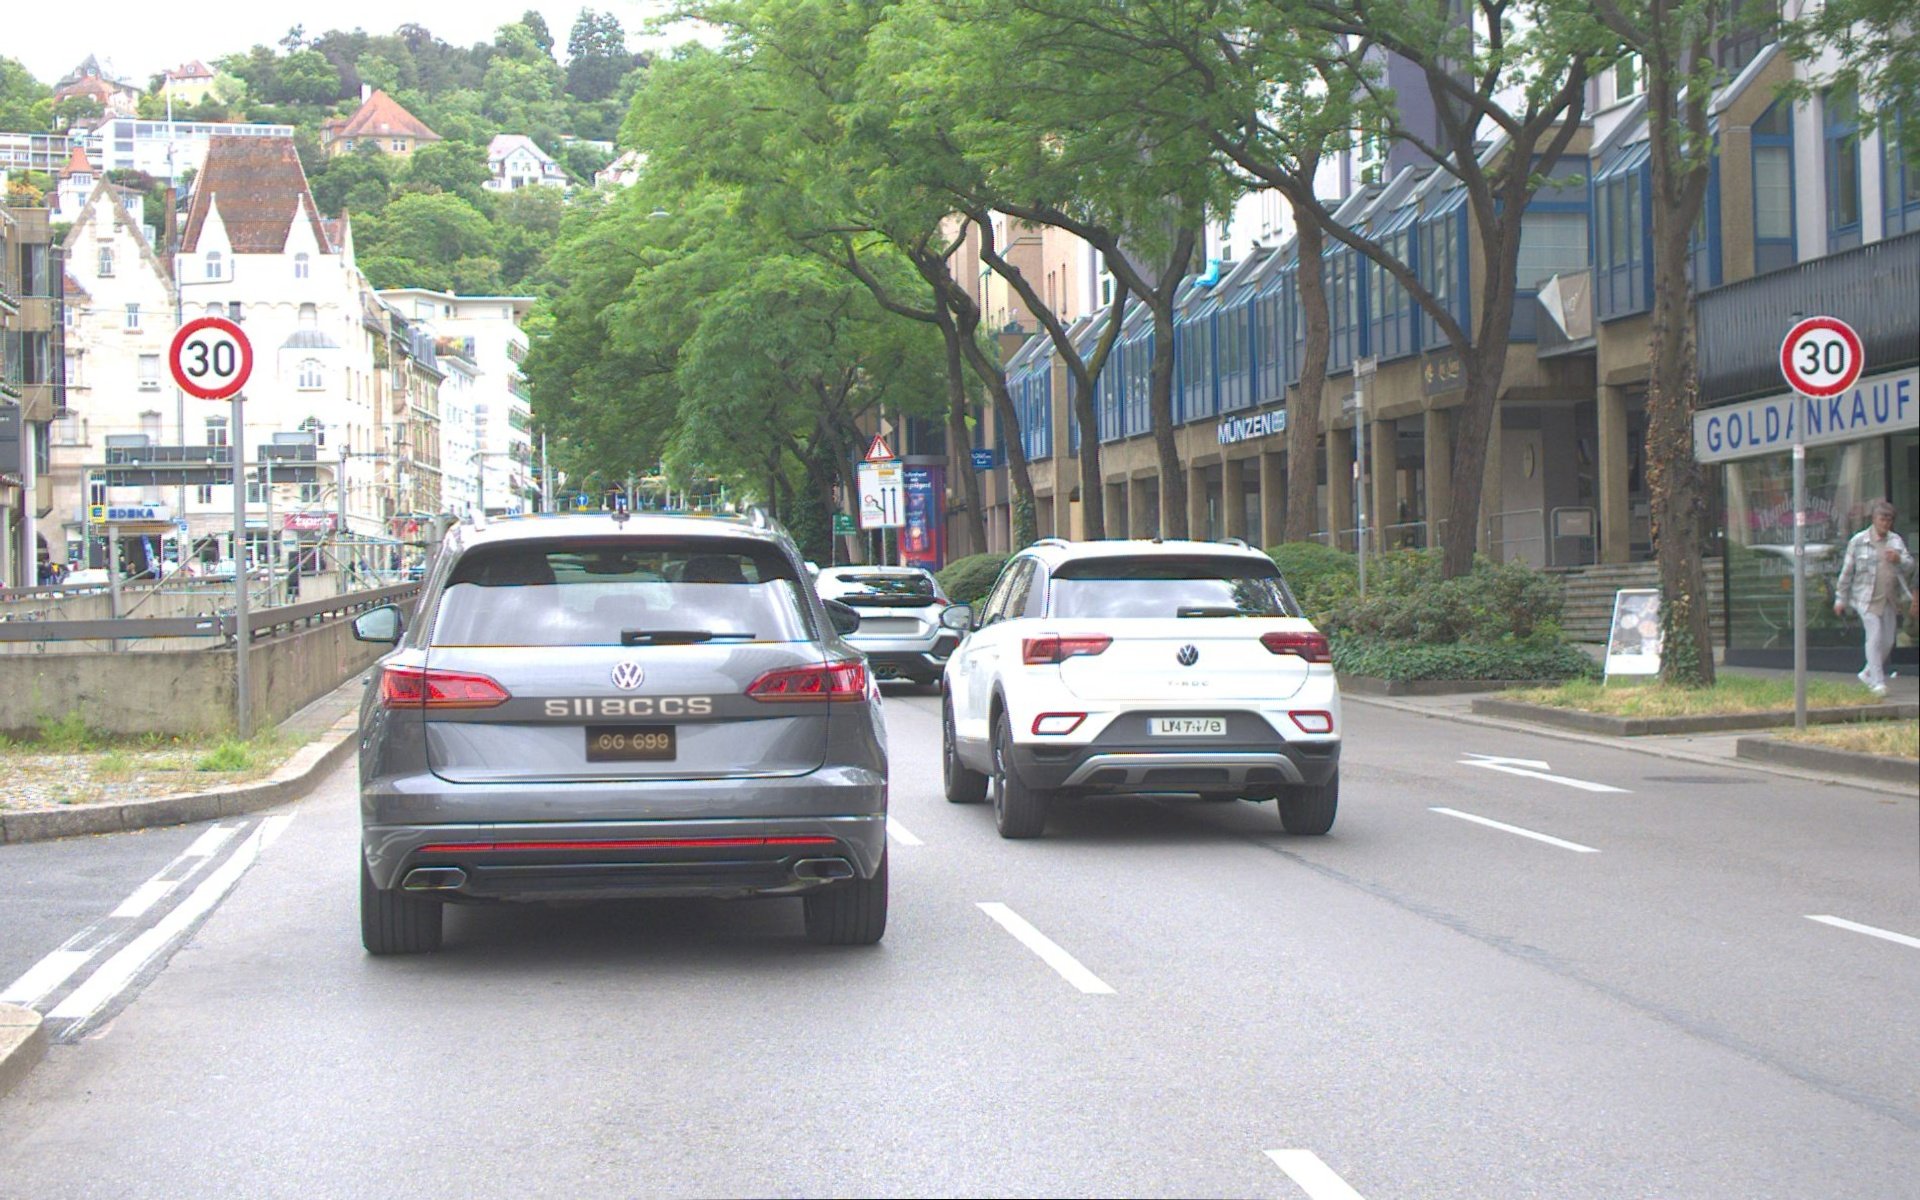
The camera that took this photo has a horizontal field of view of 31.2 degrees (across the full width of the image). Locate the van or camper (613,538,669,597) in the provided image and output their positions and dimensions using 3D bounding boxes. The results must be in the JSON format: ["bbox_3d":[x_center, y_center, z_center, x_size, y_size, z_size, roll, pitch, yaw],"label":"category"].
[{"bbox_3d":[-17.396,-1.790,187.320,2.627,3.167,5.804,-1,1,-9],"label":"van or camper"}]

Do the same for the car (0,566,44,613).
[{"bbox_3d":[-31.343,-0.340,112.561,1.993,1.459,4.887,-1,1,-8],"label":"car"}]

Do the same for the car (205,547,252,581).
[{"bbox_3d":[-38.693,-1.927,181.927,1.993,1.761,4.281,-1,1,-7],"label":"car"}]

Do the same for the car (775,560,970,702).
[{"bbox_3d":[-1.049,0.306,39.023,1.833,1.427,4.149,0,2,-7],"label":"car"}]

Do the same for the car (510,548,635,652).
[{"bbox_3d":[-6.102,-0.023,54.014,1.831,1.512,3.768,-2,1,-7],"label":"car"}]

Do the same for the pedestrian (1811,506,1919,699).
[{"bbox_3d":[8.431,0.018,32.010,0.595,1.748,0.941,-2,1,-12],"label":"pedestrian"}]

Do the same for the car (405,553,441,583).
[{"bbox_3d":[-32.902,-1.977,210.778,1.993,1.761,4.281,-1,1,-7],"label":"car"}]

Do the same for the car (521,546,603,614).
[{"bbox_3d":[-9.766,-0.494,84.178,1.831,1.561,3.768,-2,1,-9],"label":"car"}]

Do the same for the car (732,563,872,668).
[{"bbox_3d":[-2.454,0.215,52.699,1.831,1.512,3.768,-1,1,-7],"label":"car"}]

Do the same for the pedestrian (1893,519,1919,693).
[{"bbox_3d":[9.228,0.046,32.269,0.595,1.623,0.758,-2,1,-12],"label":"pedestrian"}]

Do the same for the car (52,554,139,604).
[{"bbox_3d":[-28.782,-0.717,114.550,1.993,1.580,4.888,-1,1,-4],"label":"car"}]

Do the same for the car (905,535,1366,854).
[{"bbox_3d":[0.849,0.483,19.033,1.797,1.540,3.936,-1,0,-8],"label":"car"}]

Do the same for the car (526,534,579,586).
[{"bbox_3d":[-15.652,-1.532,132.089,1.832,1.868,4.871,-2,1,-5],"label":"car"}]

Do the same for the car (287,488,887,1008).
[{"bbox_3d":[-1.421,0.465,13.813,1.970,1.690,4.225,-2,1,-4],"label":"car"}]

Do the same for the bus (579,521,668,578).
[{"bbox_3d":[-22.061,-3.355,226.695,3.850,3.520,17.245,-1,1,1],"label":"bus"}]
